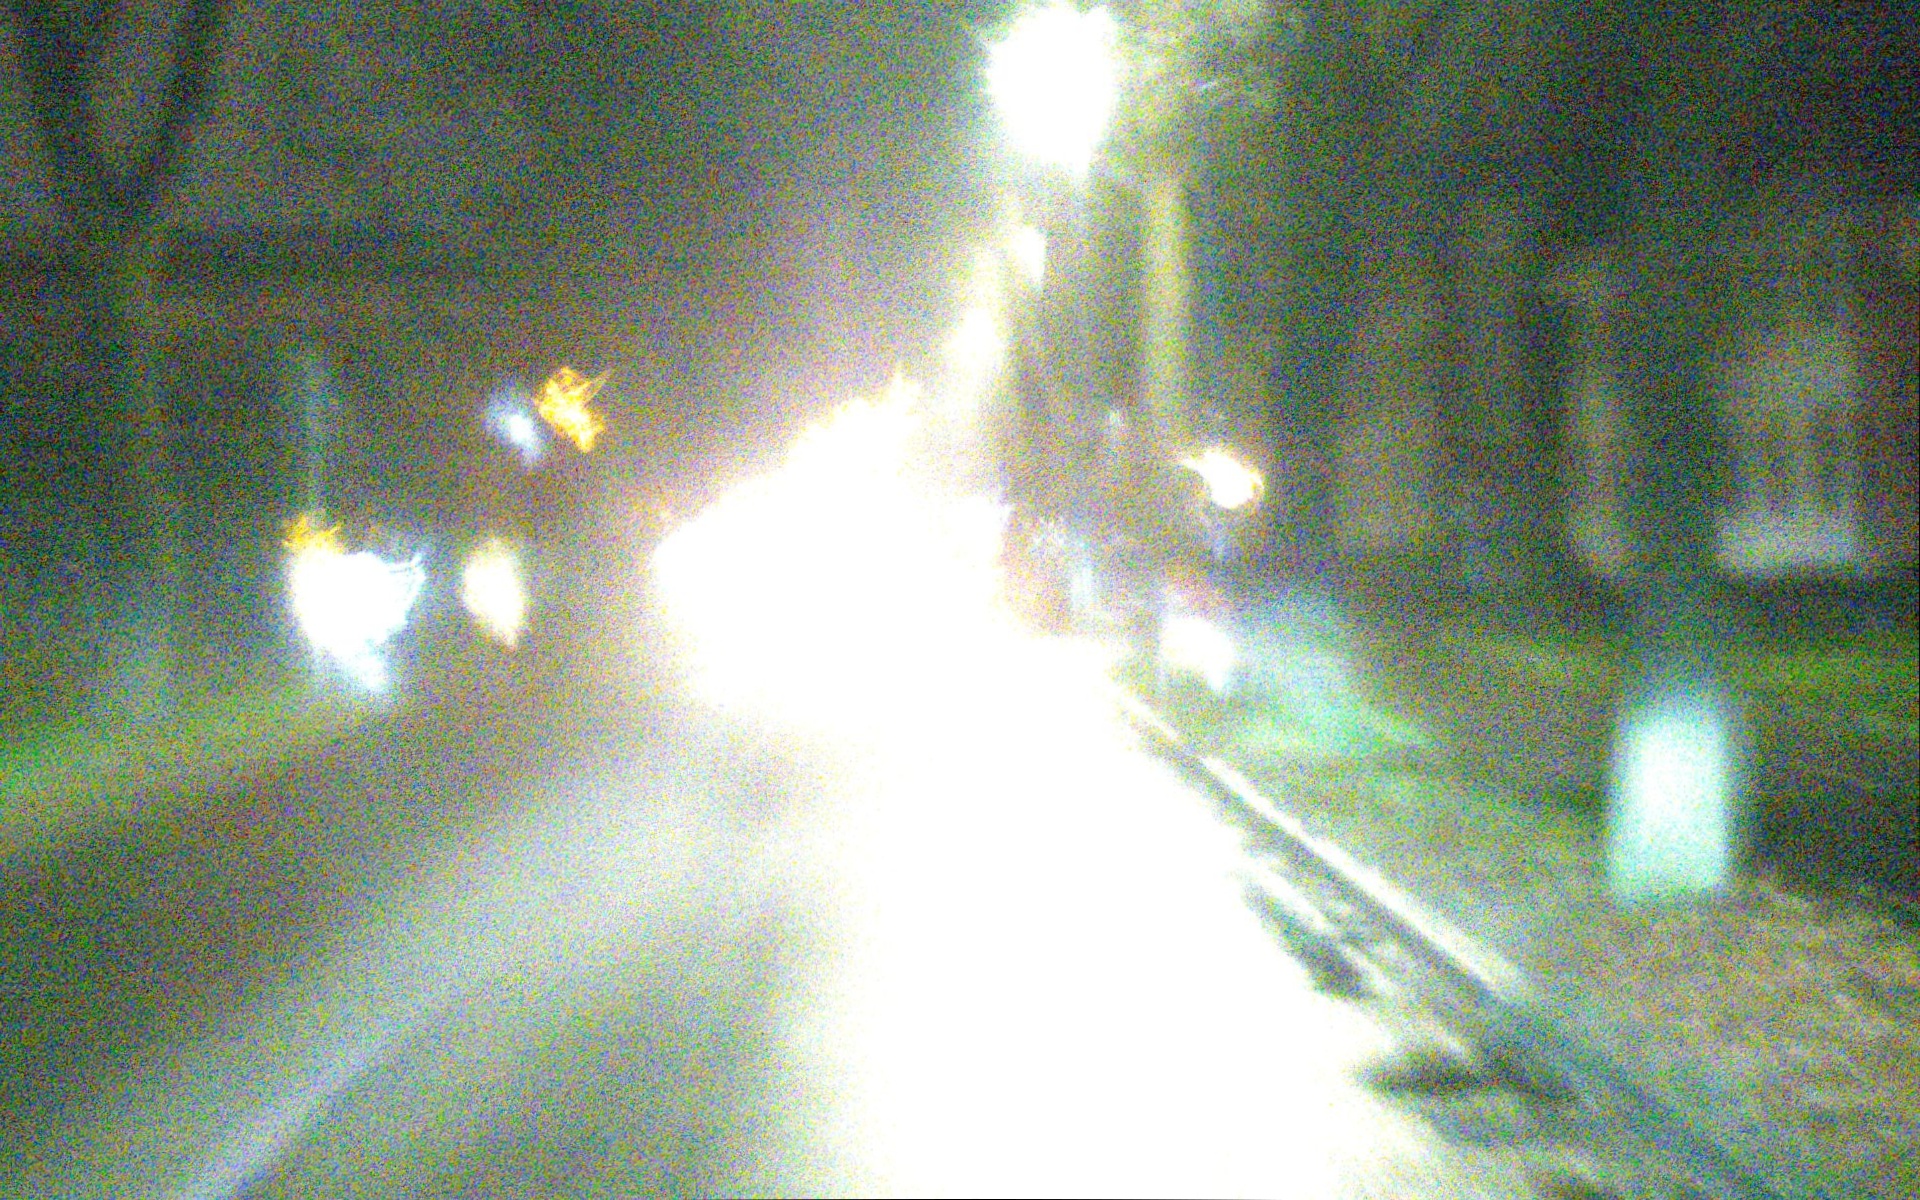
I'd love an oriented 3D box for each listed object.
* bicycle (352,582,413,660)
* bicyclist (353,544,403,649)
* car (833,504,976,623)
[{"bbox_3d":[-9.021,0.314,53.770,0.630,1.157,2.314,0,1,-2],"label":"bicycle"},{"bbox_3d":[-9.029,-0.059,53.350,0.636,1.589,0.960,0,2,-2],"label":"bicyclist"},{"bbox_3d":[-0.861,-0.556,51.009,1.993,1.678,4.001,0,1,-3],"label":"car"}]
